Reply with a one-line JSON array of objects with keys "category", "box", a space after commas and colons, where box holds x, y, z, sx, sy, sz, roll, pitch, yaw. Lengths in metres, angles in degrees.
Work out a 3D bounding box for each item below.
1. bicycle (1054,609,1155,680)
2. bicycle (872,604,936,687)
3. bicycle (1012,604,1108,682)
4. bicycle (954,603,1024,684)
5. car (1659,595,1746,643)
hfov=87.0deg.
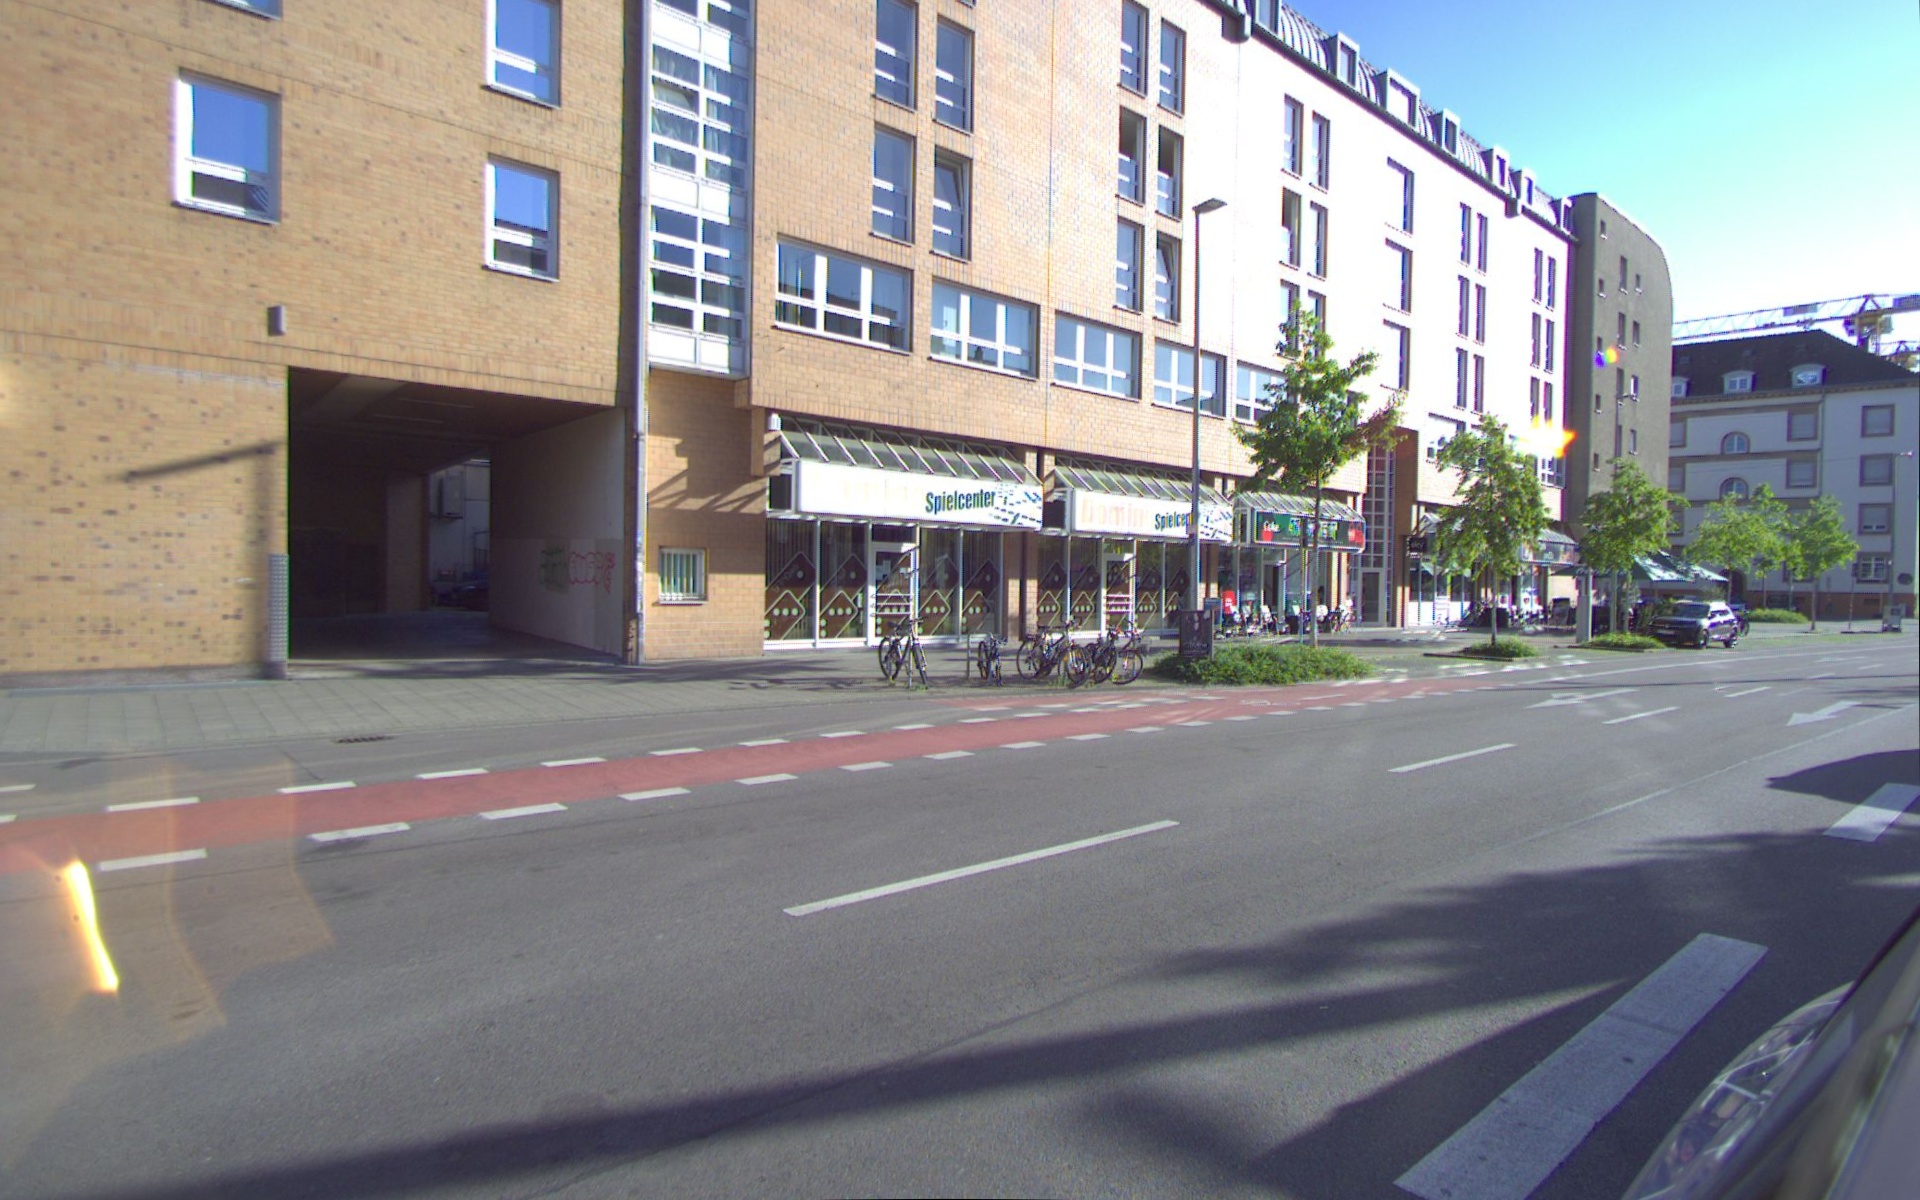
[{"category": "bicycle", "box": [2.551, 0.764, 18.074, 0.724, 1.084, 1.775, -1, 3, -37]}, {"category": "bicycle", "box": [-0.920, 0.691, 16.296, 0.541, 1.162, 1.780, 0, 3, -20]}, {"category": "bicycle", "box": [1.675, 0.706, 17.238, 0.543, 1.155, 1.775, -1, 3, -37]}, {"category": "bicycle", "box": [0.447, 0.679, 16.766, 0.541, 1.162, 1.780, 0, 3, -20]}, {"category": "car", "box": [25.926, 0.618, 35.311, 3.628, 1.549, 1.654, -1, 0, -40]}]
